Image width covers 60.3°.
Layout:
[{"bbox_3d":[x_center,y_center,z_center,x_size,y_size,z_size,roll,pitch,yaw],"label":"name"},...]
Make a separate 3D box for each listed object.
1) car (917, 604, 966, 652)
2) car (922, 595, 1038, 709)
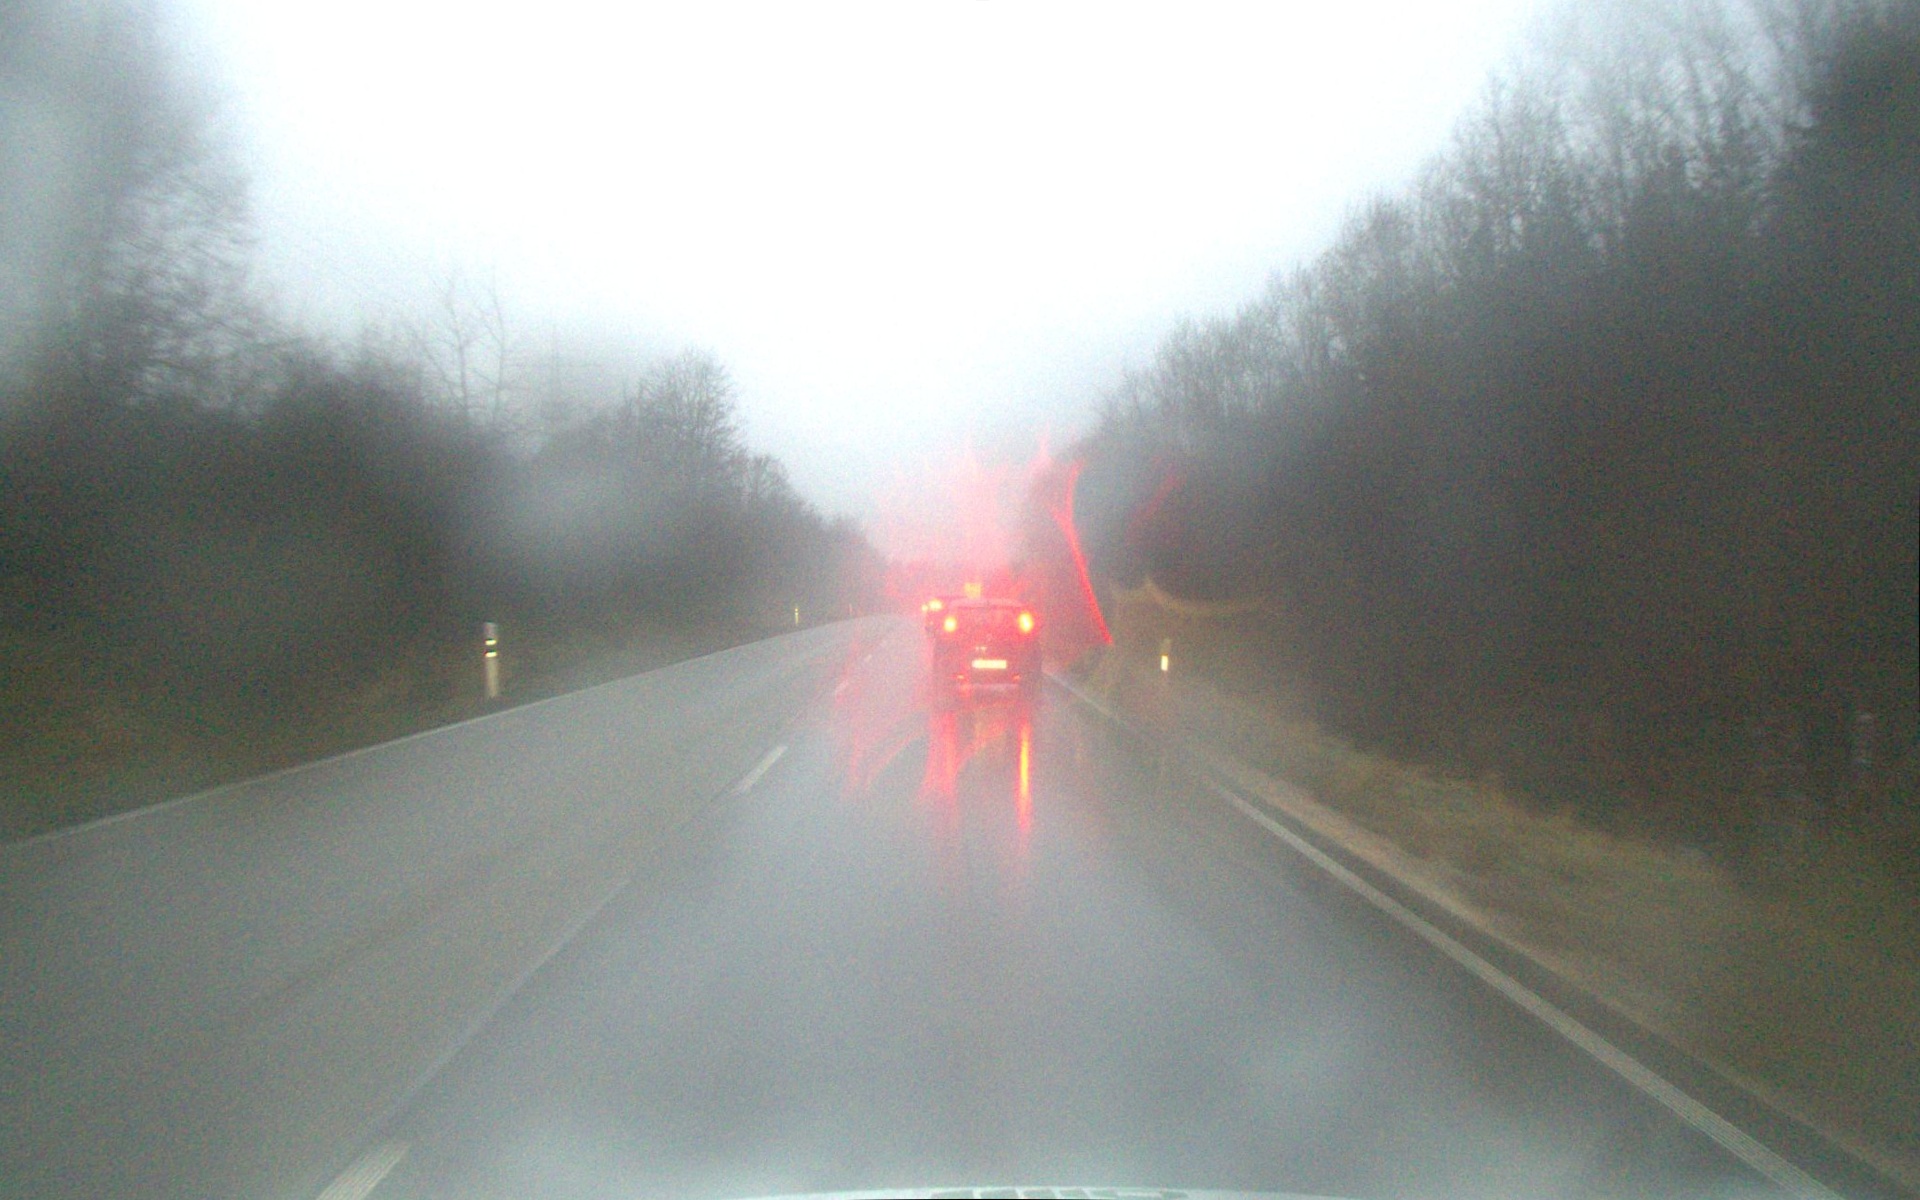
[{"bbox_3d":[-0.649,0.987,59.711,1.692,1.672,4.000,0,0,0],"label":"car"},{"bbox_3d":[0.307,0.777,26.379,1.692,1.672,4.000,0,0,0],"label":"car"}]
